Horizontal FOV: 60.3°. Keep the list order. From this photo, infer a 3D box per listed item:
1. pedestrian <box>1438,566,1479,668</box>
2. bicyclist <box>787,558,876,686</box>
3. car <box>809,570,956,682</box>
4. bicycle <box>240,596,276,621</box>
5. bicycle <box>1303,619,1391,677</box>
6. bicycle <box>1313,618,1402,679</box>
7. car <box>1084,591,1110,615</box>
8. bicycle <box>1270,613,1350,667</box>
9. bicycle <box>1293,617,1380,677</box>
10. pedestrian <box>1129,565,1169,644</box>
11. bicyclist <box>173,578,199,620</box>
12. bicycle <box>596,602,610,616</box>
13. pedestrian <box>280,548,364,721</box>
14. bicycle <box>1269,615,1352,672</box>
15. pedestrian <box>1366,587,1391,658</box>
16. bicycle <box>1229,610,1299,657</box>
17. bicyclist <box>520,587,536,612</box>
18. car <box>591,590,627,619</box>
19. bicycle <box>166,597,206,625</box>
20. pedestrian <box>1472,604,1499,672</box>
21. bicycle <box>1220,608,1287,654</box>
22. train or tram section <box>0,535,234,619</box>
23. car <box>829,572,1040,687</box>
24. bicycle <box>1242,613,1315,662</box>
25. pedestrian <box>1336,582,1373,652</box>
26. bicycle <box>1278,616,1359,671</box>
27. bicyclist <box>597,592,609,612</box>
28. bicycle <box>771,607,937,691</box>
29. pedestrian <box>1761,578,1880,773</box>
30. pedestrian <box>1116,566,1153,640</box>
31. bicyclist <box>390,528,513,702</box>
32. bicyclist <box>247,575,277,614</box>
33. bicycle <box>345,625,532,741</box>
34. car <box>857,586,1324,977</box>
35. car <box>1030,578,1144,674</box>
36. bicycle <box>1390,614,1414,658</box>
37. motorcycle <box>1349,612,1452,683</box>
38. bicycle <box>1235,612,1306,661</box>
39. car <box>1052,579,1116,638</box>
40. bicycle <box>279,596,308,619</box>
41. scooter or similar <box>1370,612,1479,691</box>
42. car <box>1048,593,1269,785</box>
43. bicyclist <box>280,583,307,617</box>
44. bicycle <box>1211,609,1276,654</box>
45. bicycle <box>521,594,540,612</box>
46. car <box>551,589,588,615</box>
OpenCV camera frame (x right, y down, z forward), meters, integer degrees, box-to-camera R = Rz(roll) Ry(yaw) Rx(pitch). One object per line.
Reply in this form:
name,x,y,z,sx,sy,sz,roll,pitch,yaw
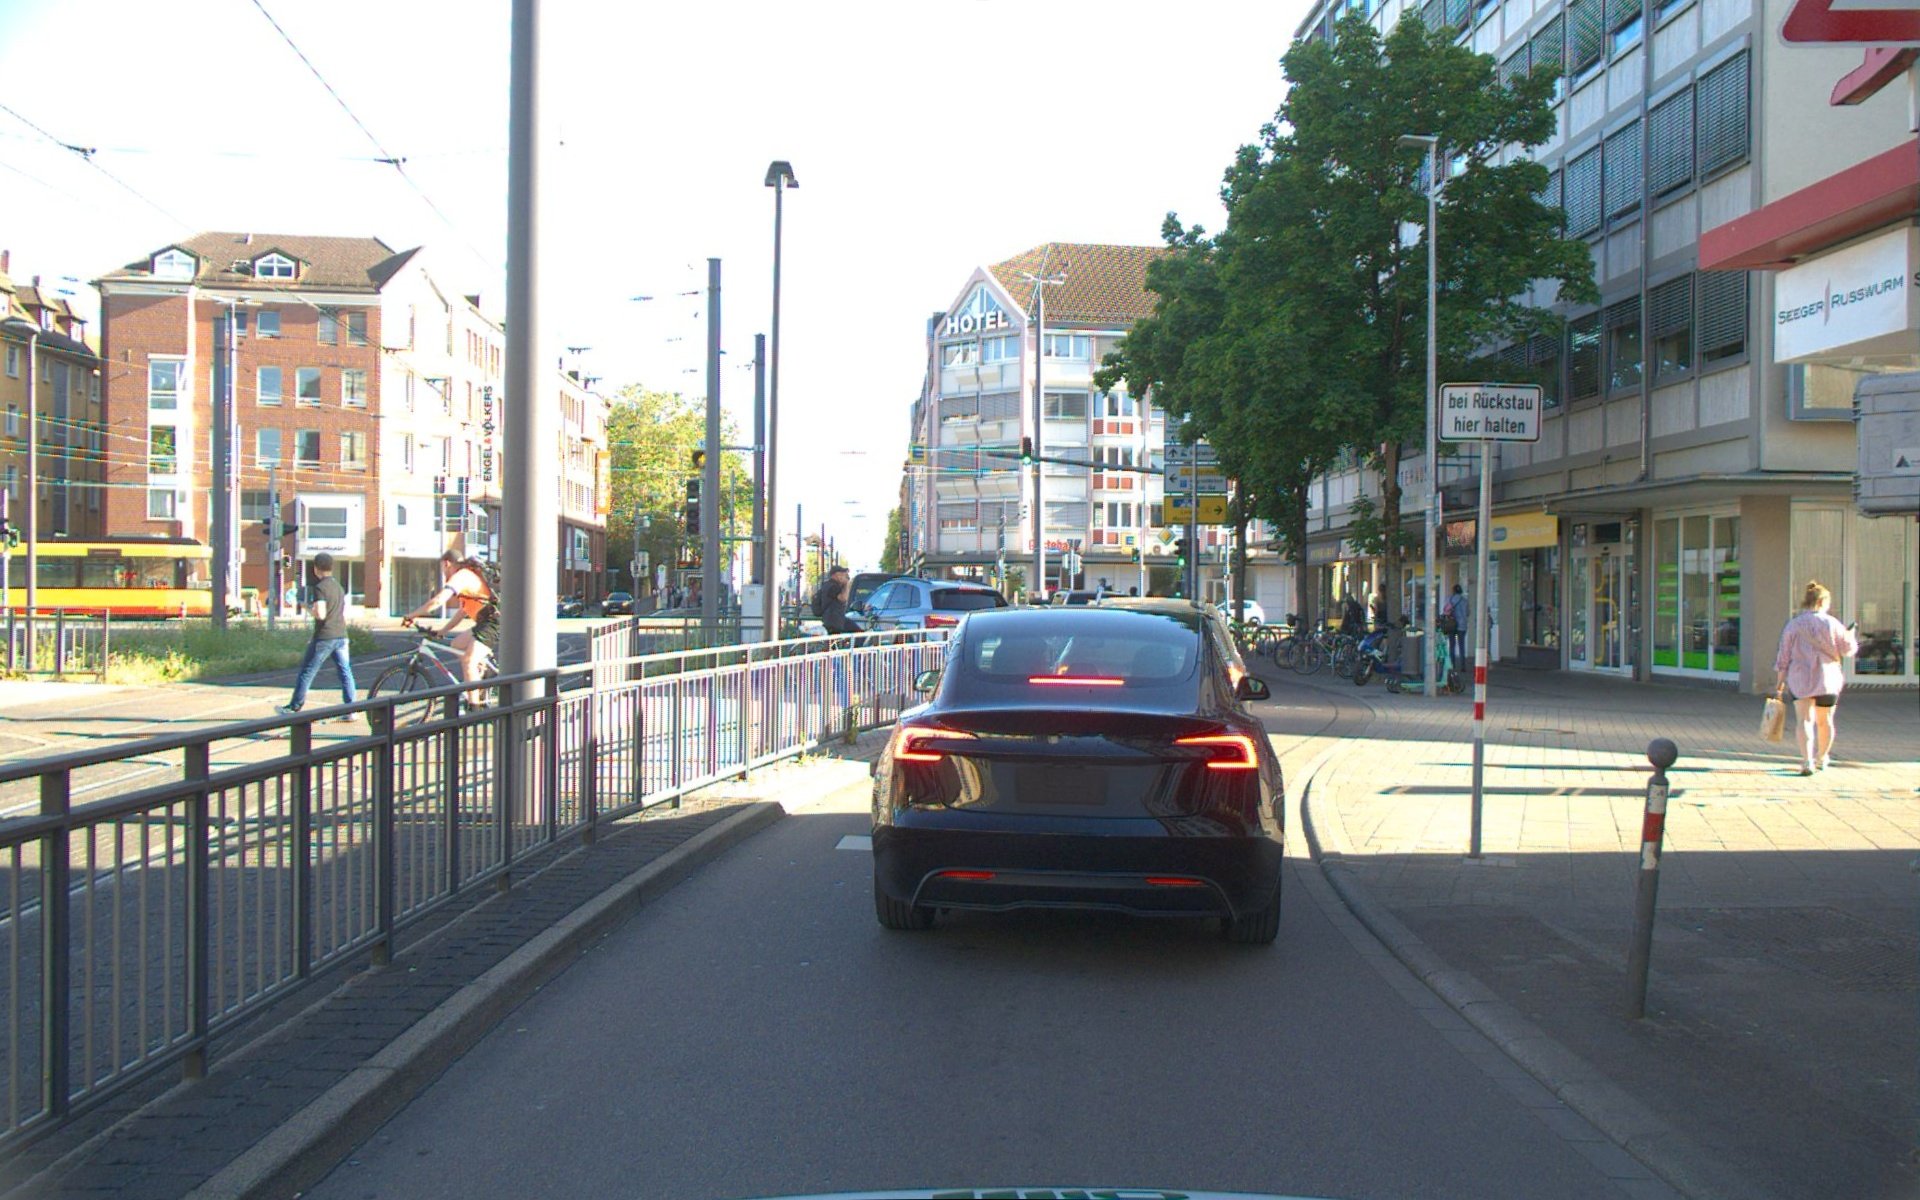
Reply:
pedestrian,10.195,0.343,33.810,0.648,2.049,0.579,1,-1,1
bicyclist,-1.721,0.289,22.115,0.753,1.657,0.964,1,-1,-39
car,-1.593,0.485,32.498,1.962,2.049,3.981,0,0,-17
bicycle,-28.404,0.326,66.975,0.513,0.988,2.246,1,0,-1
bicycle,7.384,0.907,31.540,1.620,1.079,0.349,1,-1,-11
bicycle,7.480,0.916,31.120,1.620,1.118,0.349,1,-1,-11
car,6.677,0.162,80.596,0.902,1.119,1.869,-3,-1,16
bicycle,7.500,0.847,35.442,1.616,1.118,0.350,1,-1,1
bicycle,7.279,0.907,31.963,1.620,1.118,0.349,1,-1,-11
pedestrian,5.017,0.114,43.879,0.902,2.049,0.972,1,-1,-1
bicyclist,-28.247,-0.028,60.354,0.620,1.529,0.696,1,-1,-1
bicycle,-28.876,0.741,133.786,0.518,1.107,2.225,1,0,1
pedestrian,-6.491,0.349,16.846,0.579,1.710,0.773,1,-1,-6
bicycle,7.096,0.885,33.487,1.620,1.118,0.349,1,-1,-11
pedestrian,10.344,0.545,40.870,0.515,1.740,0.403,1,-1,4
bicycle,7.428,0.818,40.434,1.616,1.118,0.350,1,-1,1
bicyclist,-26.746,-0.030,102.317,0.767,1.590,0.746,0,0,1
car,-22.404,0.285,105.670,1.663,1.762,3.704,1,0,-3
bicycle,-28.256,0.390,60.399,0.437,0.988,2.246,1,0,-1
pedestrian,10.691,0.768,33.647,0.381,1.367,0.513,1,-1,1
bicycle,7.363,0.775,41.479,1.616,1.118,0.350,0,0,1
train or tram section,-35.377,-0.910,66.495,11.063,3.185,2.789,1,0,-20
car,-0.499,0.439,26.493,1.859,1.691,4.125,1,0,-25
bicycle,7.384,0.864,38.393,1.616,1.118,0.350,1,-1,1
pedestrian,9.714,0.423,40.717,0.685,1.691,0.777,1,-1,-1
bicycle,7.406,0.898,34.164,1.620,1.118,0.349,1,-1,-11
bicyclist,-28.892,0.163,133.770,0.767,1.590,0.746,1,-1,1
bicycle,-1.411,0.653,22.390,2.313,1.072,0.622,1,-1,-39
pedestrian,7.777,0.663,14.982,0.871,1.696,0.808,1,-1,23
pedestrian,4.883,0.089,46.311,0.902,2.049,0.972,1,-1,-1
bicyclist,-4.616,0.142,15.028,1.024,1.548,0.390,1,-1,-18
bicyclist,-28.371,-0.219,67.238,0.880,1.529,0.696,1,-1,-1
bicycle,-4.712,0.749,14.993,1.572,1.011,0.401,1,-1,-18
car,0.646,0.710,8.437,1.791,1.481,4.002,1,0,4
car,2.517,0.507,33.593,1.568,1.809,3.975,1,0,-7
bicycle,10.820,0.871,40.492,0.325,1.052,1.257,1,0,3
motorcycle,7.809,0.837,29.363,1.673,1.194,0.541,1,-1,-3
bicycle,7.400,0.865,39.420,1.616,1.118,0.350,1,-1,1
car,3.913,0.272,52.806,1.685,1.781,3.753,1,0,-1
bicycle,-29.675,0.337,73.661,0.396,0.998,1.695,1,0,7
scooter or similar,7.663,0.837,27.286,1.610,1.236,0.644,1,-1,30
car,1.753,0.690,15.042,1.714,1.480,4.003,1,0,6
bicyclist,-29.687,-0.012,73.670,0.689,1.496,0.973,0,0,7
bicycle,7.293,0.799,42.572,1.616,1.118,0.350,1,-1,1
bicycle,-26.732,0.195,102.951,0.518,1.107,2.284,0,0,1
car,-24.225,0.154,102.753,1.677,1.553,4.031,1,0,-5
